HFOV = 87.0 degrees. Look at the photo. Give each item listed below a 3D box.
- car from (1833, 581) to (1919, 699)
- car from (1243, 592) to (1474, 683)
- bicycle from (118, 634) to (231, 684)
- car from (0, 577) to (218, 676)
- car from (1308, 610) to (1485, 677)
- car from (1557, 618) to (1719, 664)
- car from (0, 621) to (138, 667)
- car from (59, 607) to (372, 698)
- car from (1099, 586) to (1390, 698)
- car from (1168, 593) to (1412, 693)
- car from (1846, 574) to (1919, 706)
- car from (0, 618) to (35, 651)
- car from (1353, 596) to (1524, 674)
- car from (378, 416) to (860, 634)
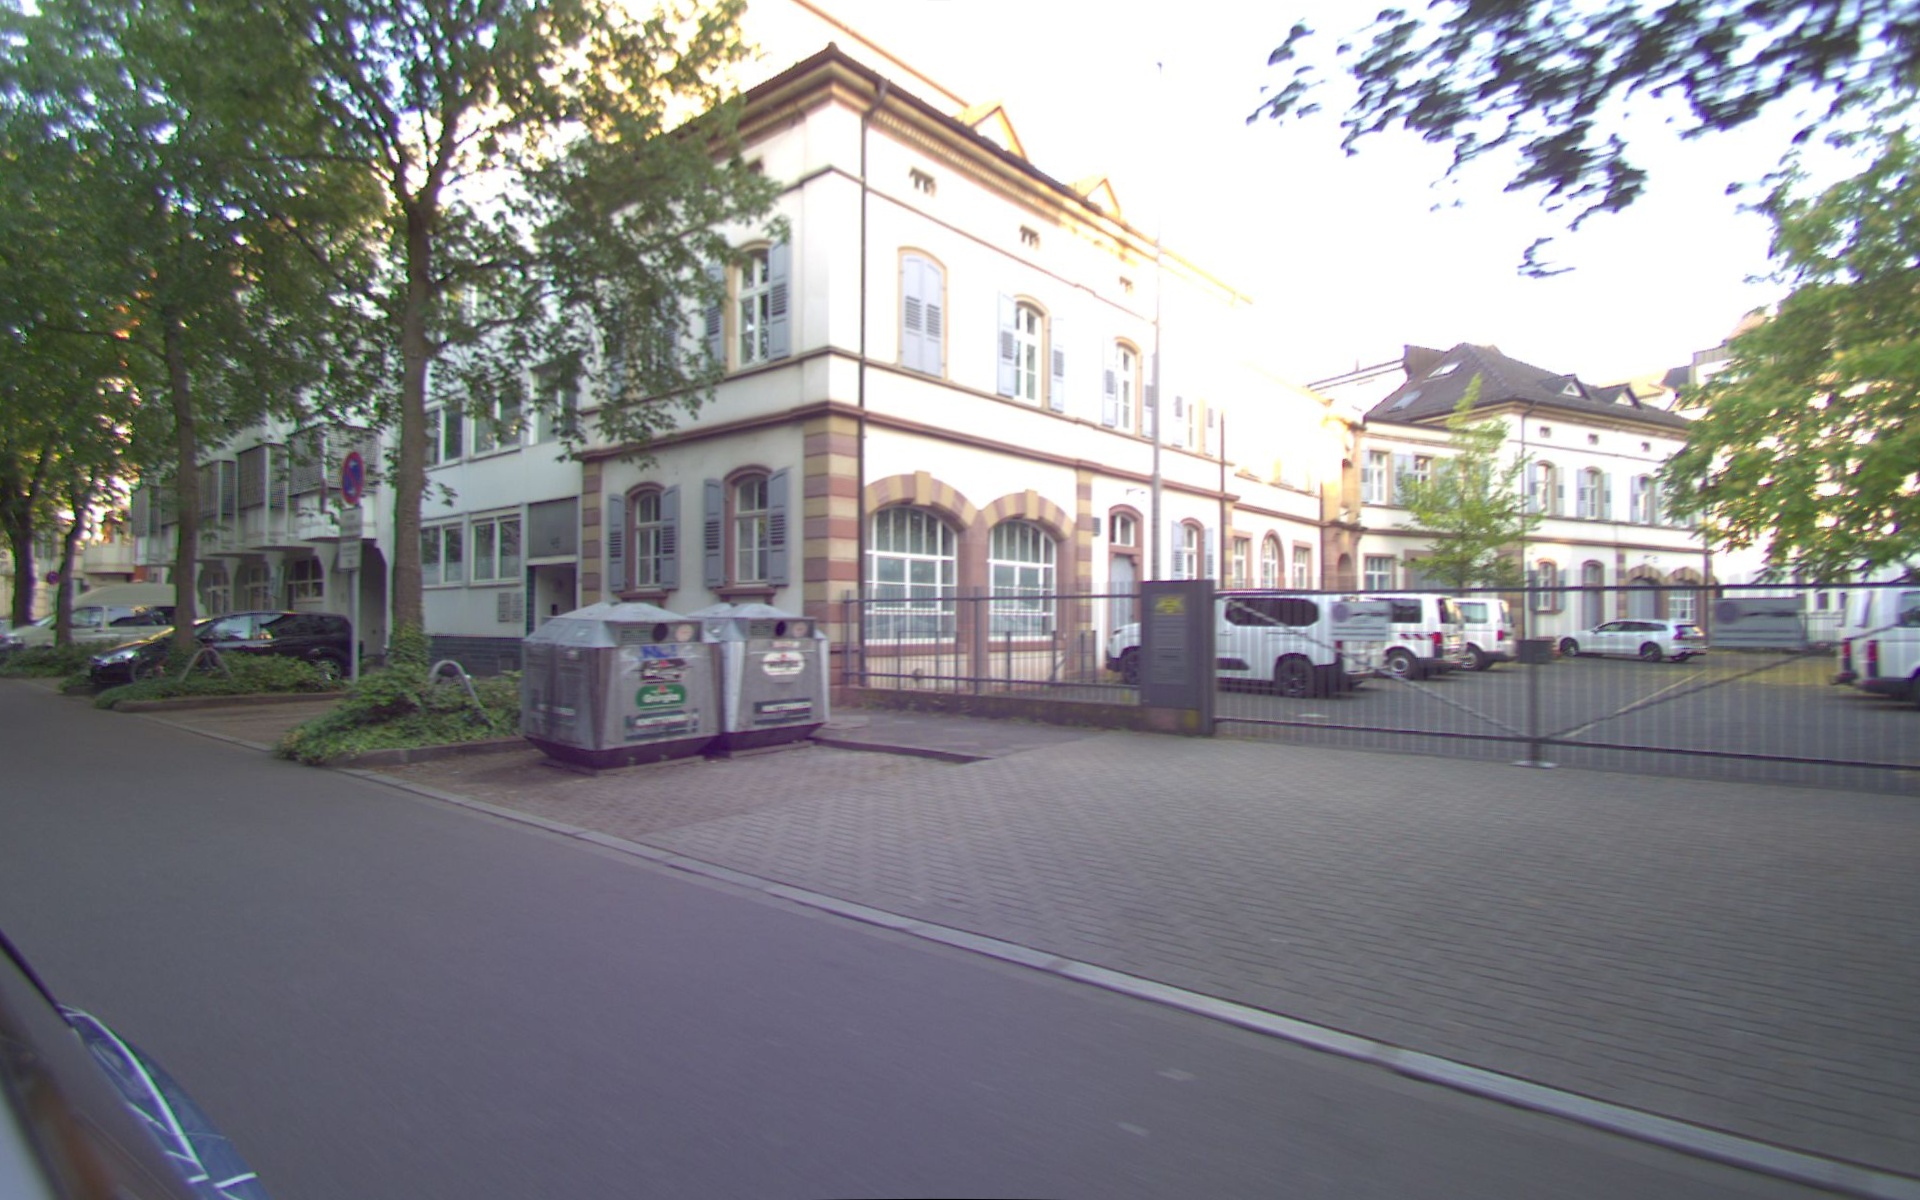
[{"bbox_3d":[17.279,0.665,16.934,3.998,1.962,1.973,-1,-2,41],"label":"car"},{"bbox_3d":[9.316,0.849,23.831,4.681,1.940,2.126,-1,-2,37],"label":"car"},{"bbox_3d":[-14.175,1.047,18.296,0.613,0.837,1.535,-1,-2,43],"label":"bicycle"},{"bbox_3d":[-24.385,0.743,28.752,2.119,2.592,4.952,-2,-2,40],"label":"car"},{"bbox_3d":[11.350,1.102,26.444,3.994,1.630,1.565,-1,-2,38],"label":"car"},{"bbox_3d":[23.773,1.399,35.676,1.965,1.517,4.307,0,-1,-25],"label":"car"},{"bbox_3d":[-30.573,1.459,34.161,1.952,1.480,4.125,-1,-2,41],"label":"car"},{"bbox_3d":[-14.999,0.988,20.625,2.159,1.634,4.802,-1,-2,41],"label":"car"},{"bbox_3d":[5.051,0.723,18.280,4.671,1.771,1.978,-1,-2,37],"label":"car"},{"bbox_3d":[6.640,0.829,20.570,4.341,1.835,1.879,-1,-2,37],"label":"car"},{"bbox_3d":[15.917,0.574,14.572,4.702,1.938,2.030,-1,-2,42],"label":"car"},{"bbox_3d":[-46.604,1.633,47.513,1.870,1.537,4.463,-1,-2,40],"label":"car"},{"bbox_3d":[13.326,0.947,28.249,3.994,2.029,1.975,-1,-2,38],"label":"car"},{"bbox_3d":[-3.317,-0.569,10.642,1.998,1.785,4.461,-1,-1,39],"label":"car"}]
